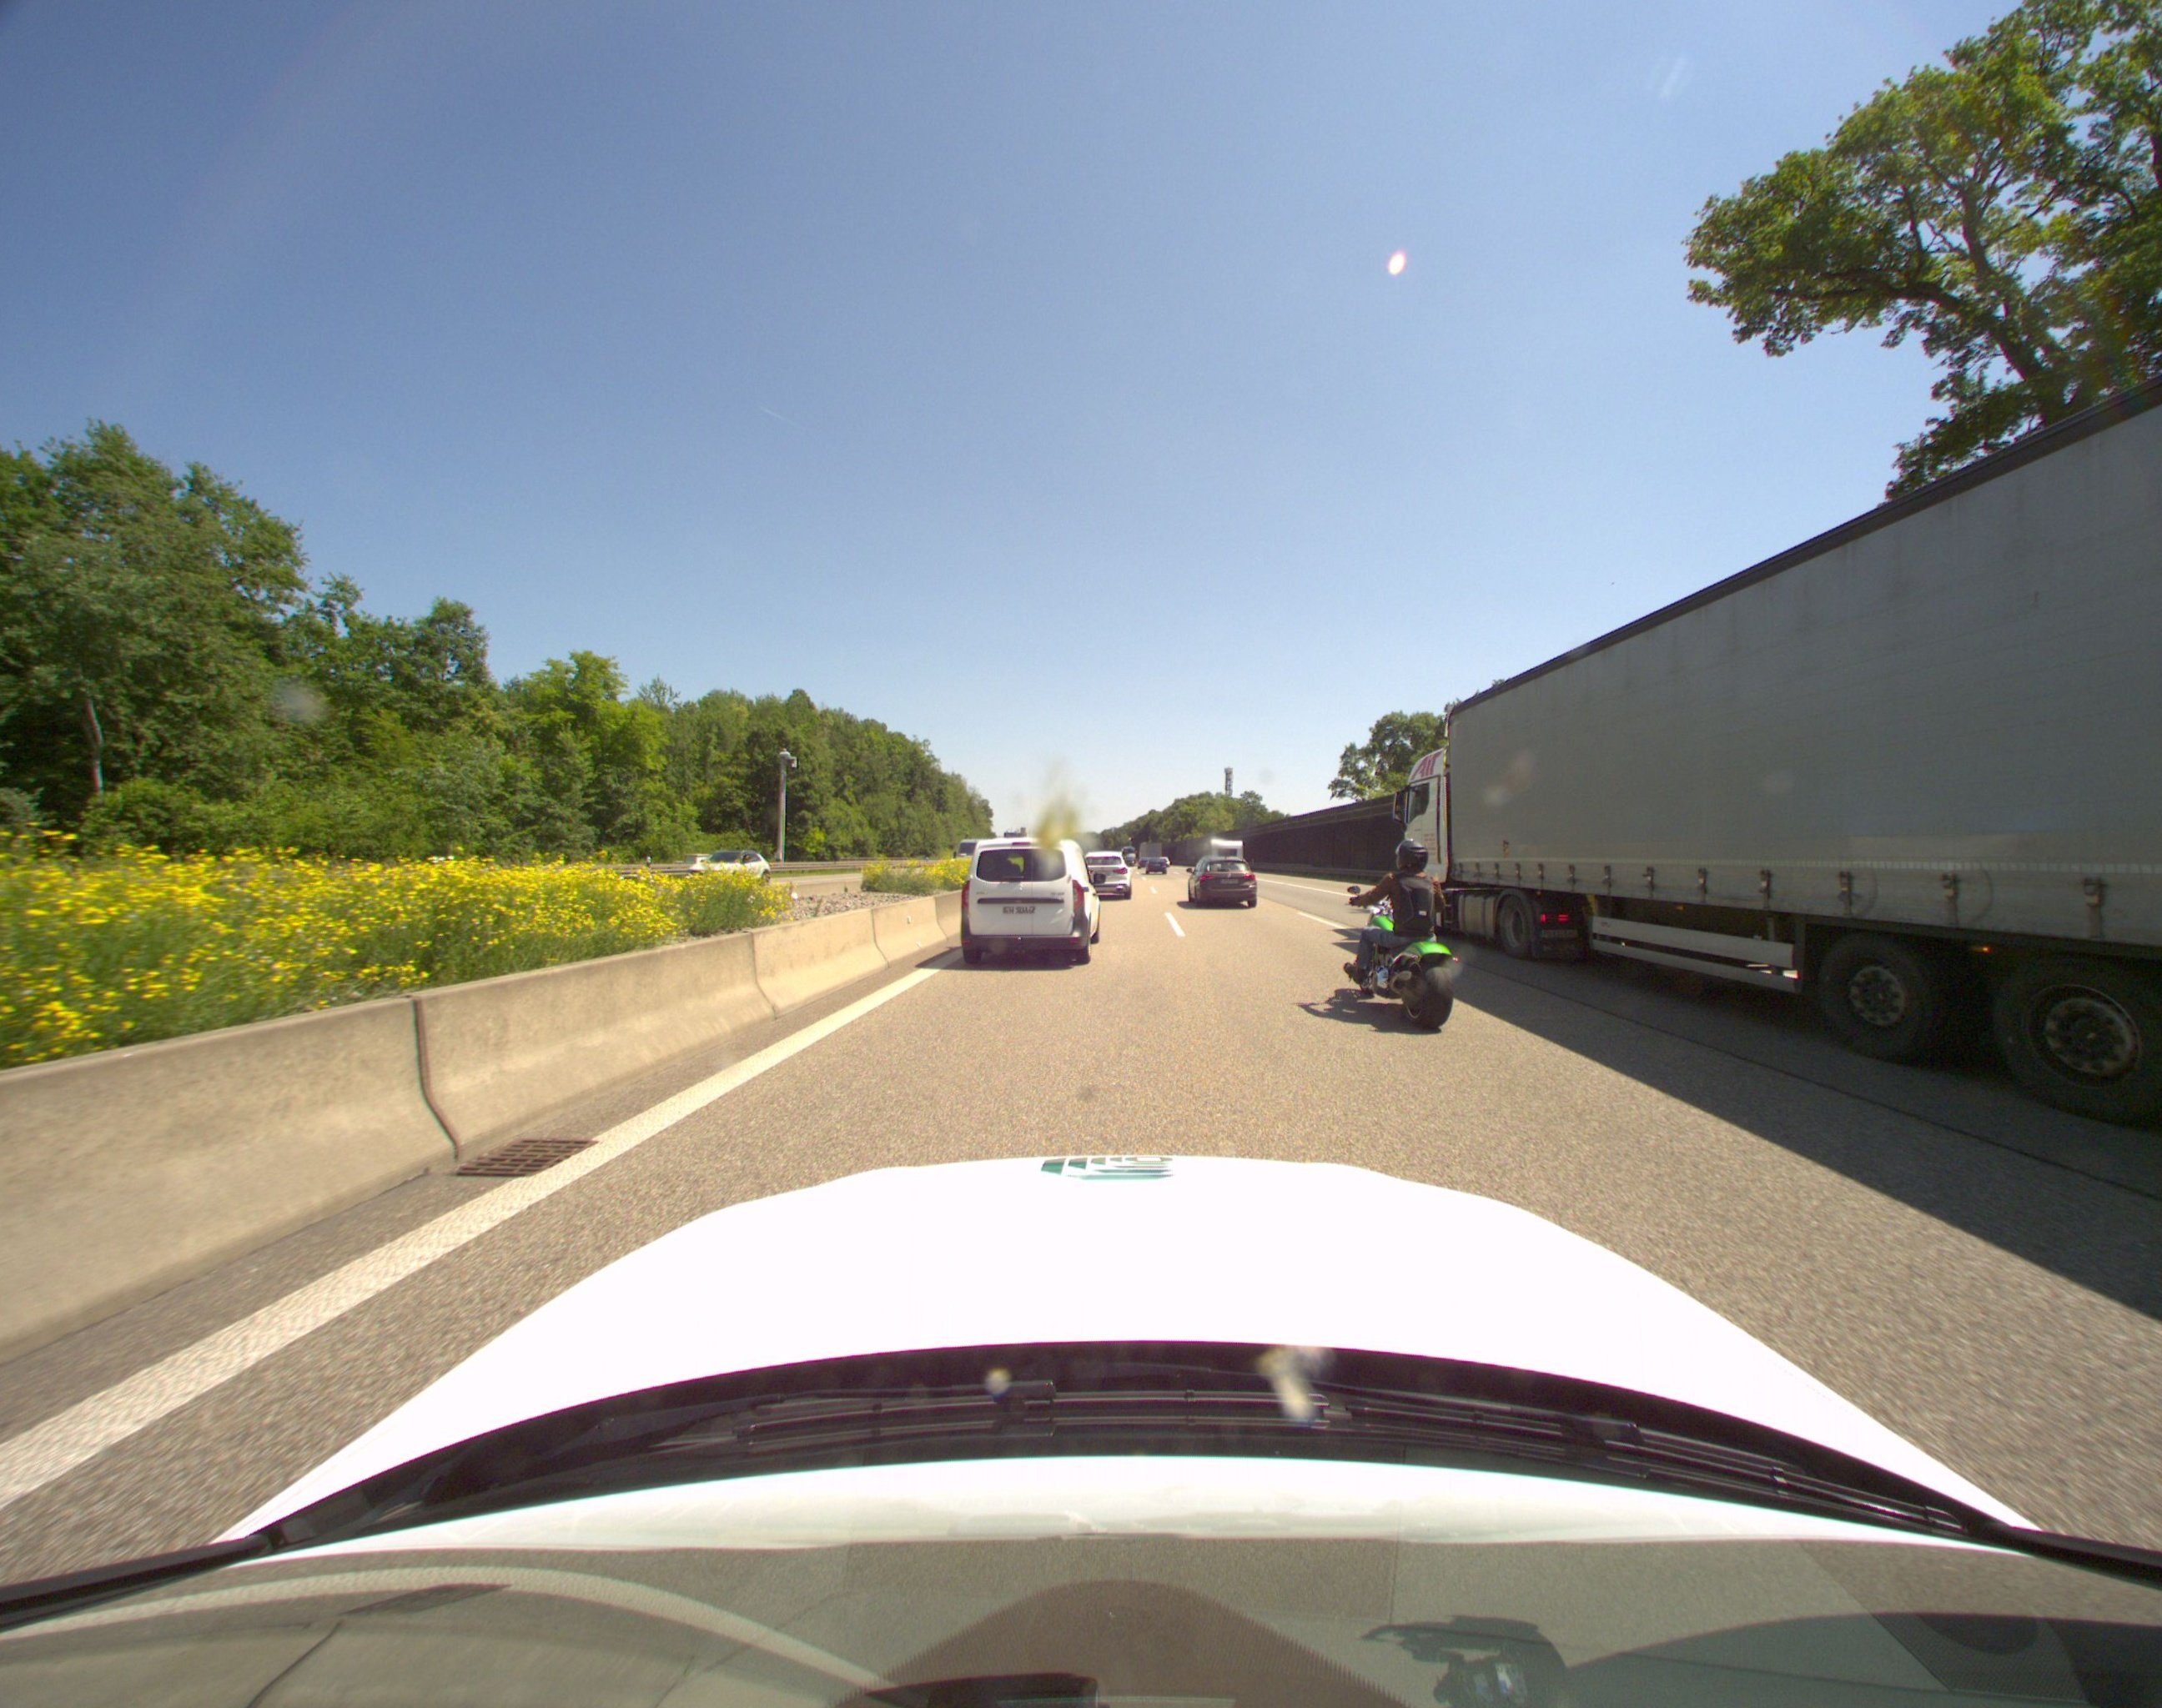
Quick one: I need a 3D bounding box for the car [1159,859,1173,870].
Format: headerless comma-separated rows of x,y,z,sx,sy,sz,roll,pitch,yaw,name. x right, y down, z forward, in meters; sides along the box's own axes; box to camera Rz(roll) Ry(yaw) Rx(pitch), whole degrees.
12.644,1.526,121.453,1.985,1.574,4.003,0,-1,3,car

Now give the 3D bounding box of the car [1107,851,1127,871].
3.519,0.697,79.588,1.892,1.874,4.414,0,-1,2,car

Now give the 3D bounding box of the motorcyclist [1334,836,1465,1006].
3.077,0.605,8.083,0.894,1.475,1.878,0,-1,12,motorcyclist

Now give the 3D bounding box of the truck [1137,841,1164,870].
11.956,0.356,141.478,3.791,4.960,8.947,0,-1,-1,truck

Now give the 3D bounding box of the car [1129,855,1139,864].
12.335,1.309,189.669,2.101,1.876,4.000,0,-1,0,car

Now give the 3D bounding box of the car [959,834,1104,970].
-0.599,0.652,13.175,1.757,1.813,4.679,0,0,4,car

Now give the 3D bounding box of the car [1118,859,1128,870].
8.462,2.122,163.494,1.905,2.014,3.689,0,-1,0,car

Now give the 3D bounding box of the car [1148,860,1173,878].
6.543,1.226,67.595,1.984,1.430,3.852,0,-1,4,car

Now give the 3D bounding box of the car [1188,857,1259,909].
4.206,0.848,24.561,1.655,1.453,3.871,0,-1,3,car

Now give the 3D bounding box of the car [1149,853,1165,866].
9.812,0.728,105.153,1.796,1.686,3.919,0,0,2,car

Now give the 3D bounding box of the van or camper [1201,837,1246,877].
10.700,0.283,61.708,2.673,2.813,6.809,0,-1,4,van or camper

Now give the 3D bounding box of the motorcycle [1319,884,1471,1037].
3.000,0.925,8.138,0.958,1.148,2.820,0,0,11,motorcycle

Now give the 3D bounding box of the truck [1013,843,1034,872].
-10.941,0.802,156.135,3.470,5.277,10.011,0,-2,-1,truck

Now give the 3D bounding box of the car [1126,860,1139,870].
8.491,1.850,135.479,1.986,1.640,4.000,0,-1,1,car

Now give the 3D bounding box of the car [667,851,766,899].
-13.943,0.758,31.417,1.788,1.708,4.149,0,0,2,car

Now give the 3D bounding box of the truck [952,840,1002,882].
-5.765,0.373,45.975,1.830,2.226,6.199,0,0,2,truck

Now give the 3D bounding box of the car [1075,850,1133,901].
0.931,0.748,29.816,1.855,1.694,4.962,0,0,5,car

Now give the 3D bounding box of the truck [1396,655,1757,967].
7.773,-0.562,13.902,2.872,4.146,5.993,0,0,4,truck

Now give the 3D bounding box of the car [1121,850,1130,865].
11.428,0.893,209.079,2.126,3.862,8.142,0,0,1,car

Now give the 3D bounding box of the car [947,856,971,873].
-11.375,0.980,76.093,1.614,1.521,3.425,0,0,2,car

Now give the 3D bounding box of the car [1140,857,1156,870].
8.106,1.119,99.017,1.772,1.552,3.586,0,0,2,car

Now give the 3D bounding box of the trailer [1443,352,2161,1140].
7.233,-0.543,7.281,2.872,4.038,13.812,0,0,5,trailer
